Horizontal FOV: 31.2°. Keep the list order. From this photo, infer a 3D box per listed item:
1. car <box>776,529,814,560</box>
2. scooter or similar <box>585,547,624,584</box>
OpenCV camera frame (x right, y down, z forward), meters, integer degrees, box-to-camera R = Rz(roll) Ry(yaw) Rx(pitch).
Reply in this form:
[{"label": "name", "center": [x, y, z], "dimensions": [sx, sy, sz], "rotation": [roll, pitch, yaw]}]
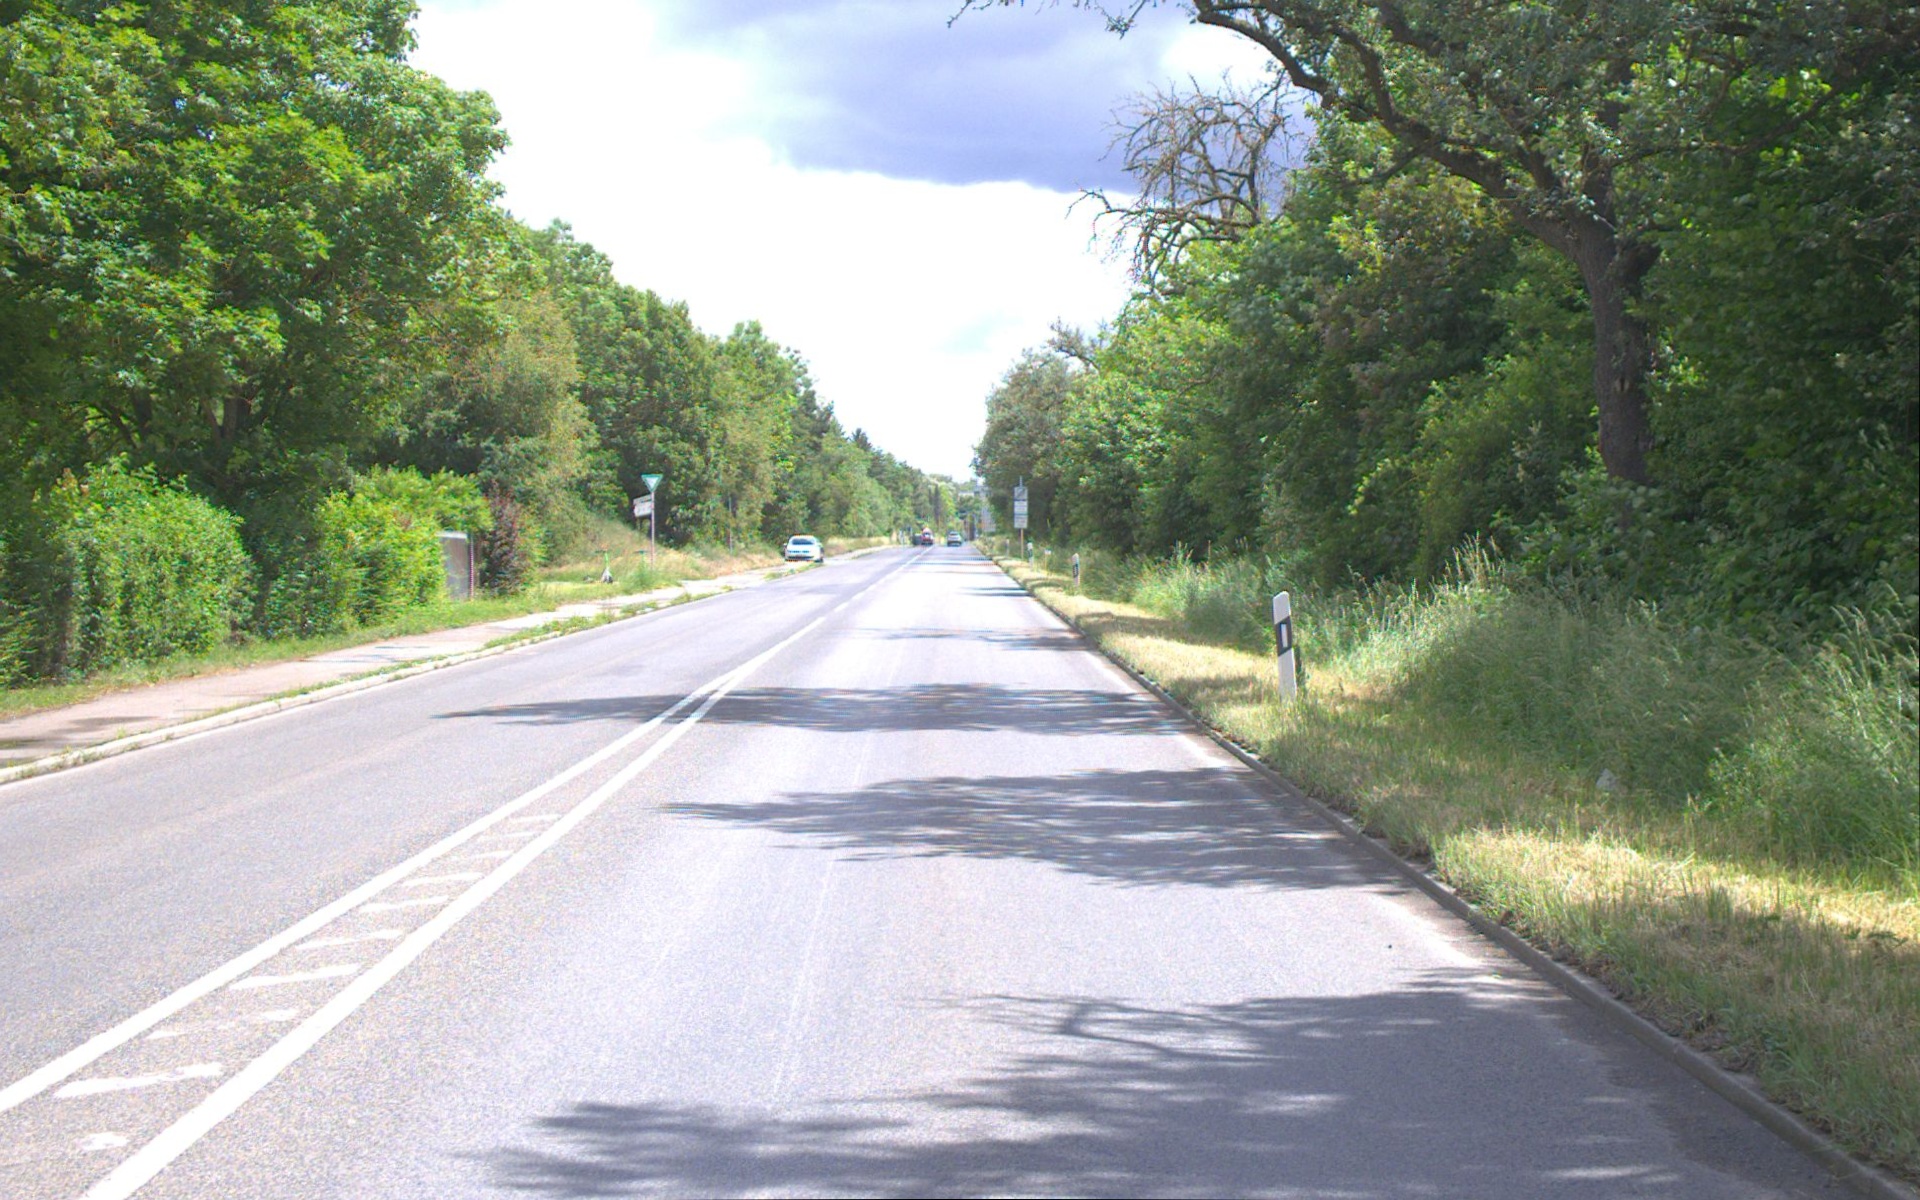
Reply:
[{"label": "car", "center": [-8.868, -2.968, 184.828], "dimensions": [1.798, 1.538, 3.955], "rotation": [-1, 0, 0]}, {"label": "scooter or similar", "center": [-11.414, -1.114, 110.332], "dimensions": [1.350, 1.164, 0.406], "rotation": [1, 1, 41]}]
